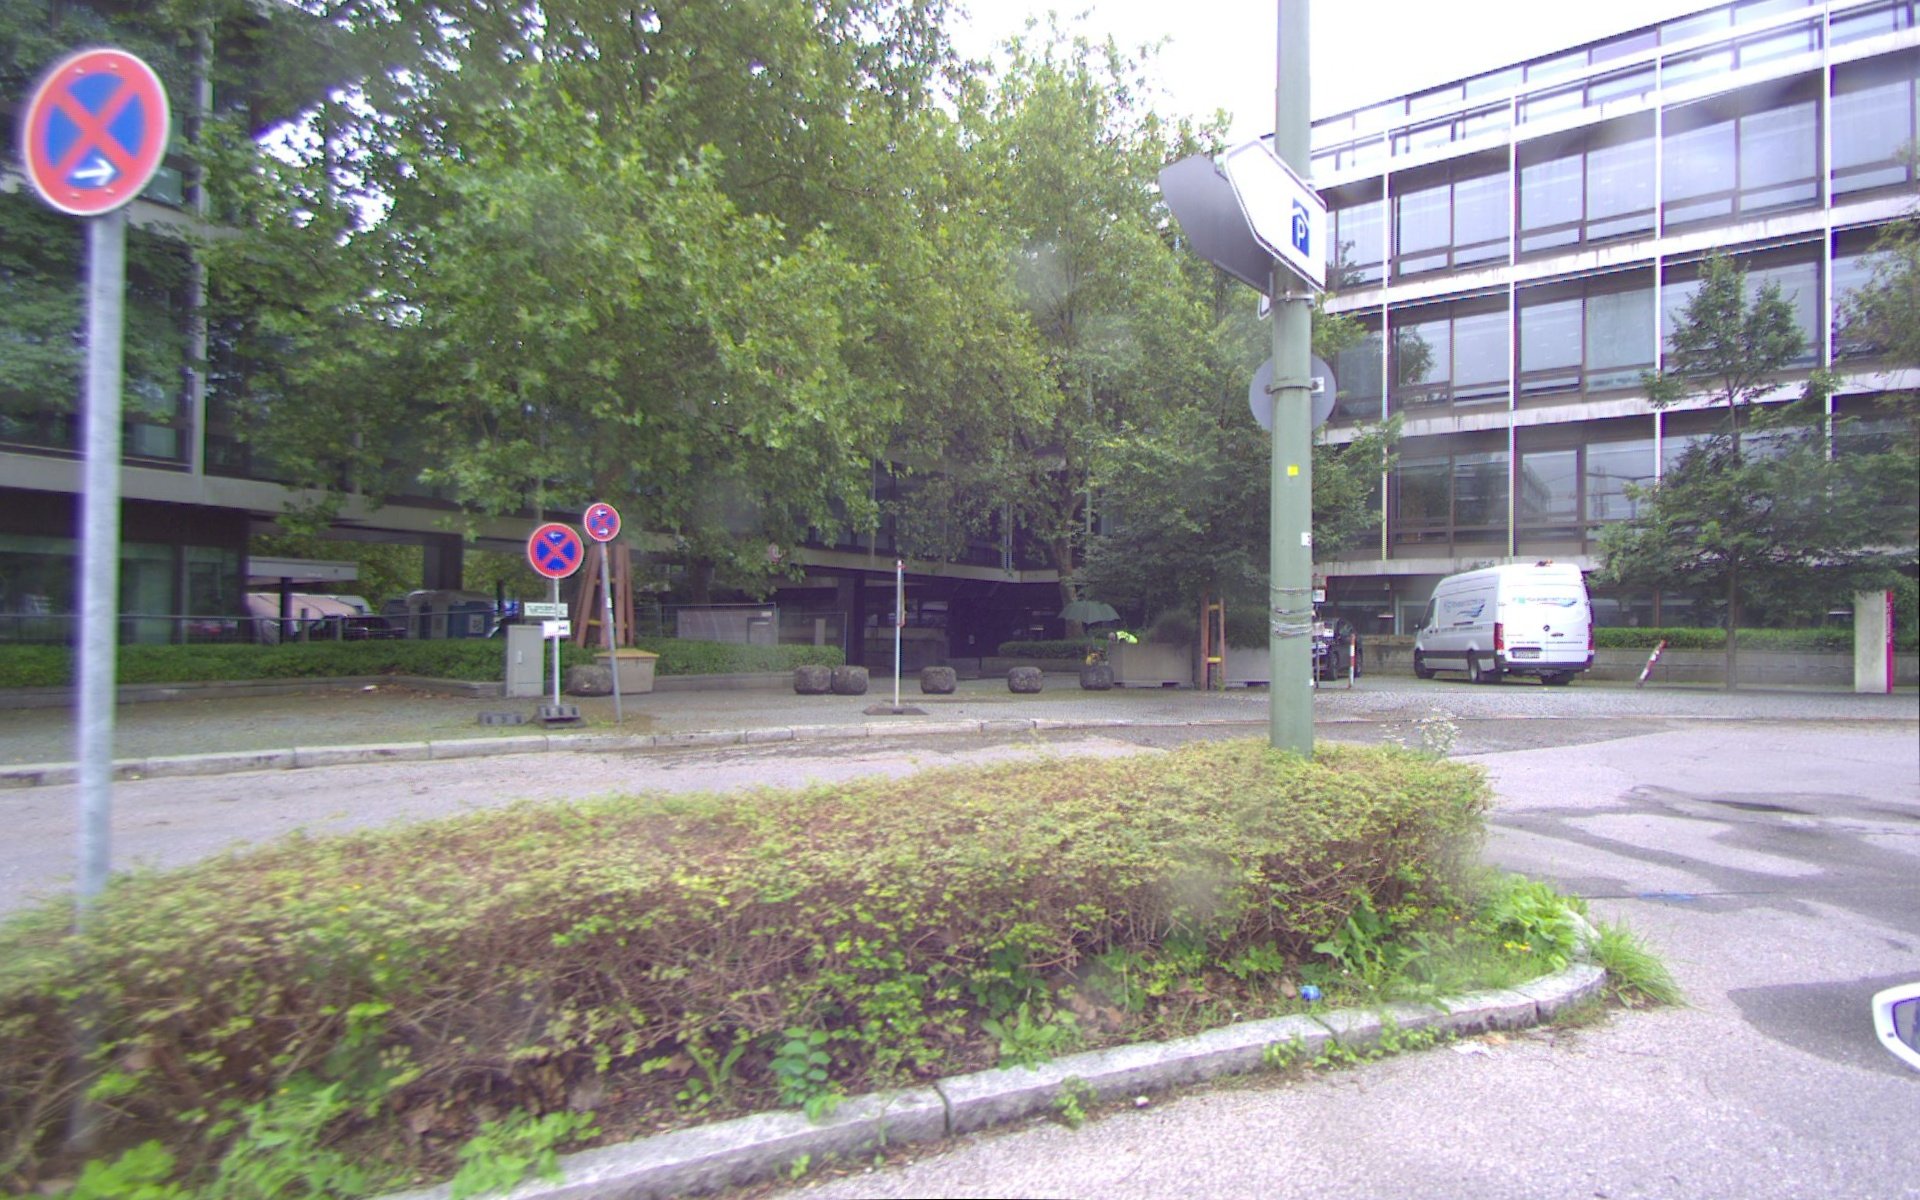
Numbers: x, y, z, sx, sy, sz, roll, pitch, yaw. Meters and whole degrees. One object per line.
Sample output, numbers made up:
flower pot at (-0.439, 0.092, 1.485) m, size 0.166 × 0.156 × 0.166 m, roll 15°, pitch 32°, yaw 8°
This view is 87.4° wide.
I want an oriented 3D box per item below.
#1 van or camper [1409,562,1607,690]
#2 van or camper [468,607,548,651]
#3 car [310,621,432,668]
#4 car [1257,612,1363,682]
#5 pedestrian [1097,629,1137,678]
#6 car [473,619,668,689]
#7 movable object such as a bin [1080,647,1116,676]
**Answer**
van or camper at (12.827, 0.707, 24.139) m, size 2.119 × 2.614 × 6.545 m, roll 1°, pitch -3°, yaw 9°
van or camper at (-27.849, 1.798, 61.884) m, size 4.569 × 2.630 × 2.274 m, roll -1°, pitch -2°, yaw 31°
car at (-19.873, 1.459, 33.872) m, size 3.791 × 1.493 × 1.910 m, roll 0°, pitch -2°, yaw 30°
car at (9.618, 1.236, 27.416) m, size 1.913 × 1.744 × 4.230 m, roll 0°, pitch -2°, yaw 31°
pedestrian at (4.313, 1.458, 27.579) m, size 0.914 × 1.295 × 0.540 m, roll 0°, pitch -1°, yaw 37°
car at (-9.010, 1.207, 23.460) m, size 1.882 × 1.493 × 3.847 m, roll 0°, pitch -2°, yaw 36°
movable object such as a bin at (3.834, 1.711, 27.871) m, size 0.824 × 0.763 × 0.570 m, roll 0°, pitch -1°, yaw 38°
